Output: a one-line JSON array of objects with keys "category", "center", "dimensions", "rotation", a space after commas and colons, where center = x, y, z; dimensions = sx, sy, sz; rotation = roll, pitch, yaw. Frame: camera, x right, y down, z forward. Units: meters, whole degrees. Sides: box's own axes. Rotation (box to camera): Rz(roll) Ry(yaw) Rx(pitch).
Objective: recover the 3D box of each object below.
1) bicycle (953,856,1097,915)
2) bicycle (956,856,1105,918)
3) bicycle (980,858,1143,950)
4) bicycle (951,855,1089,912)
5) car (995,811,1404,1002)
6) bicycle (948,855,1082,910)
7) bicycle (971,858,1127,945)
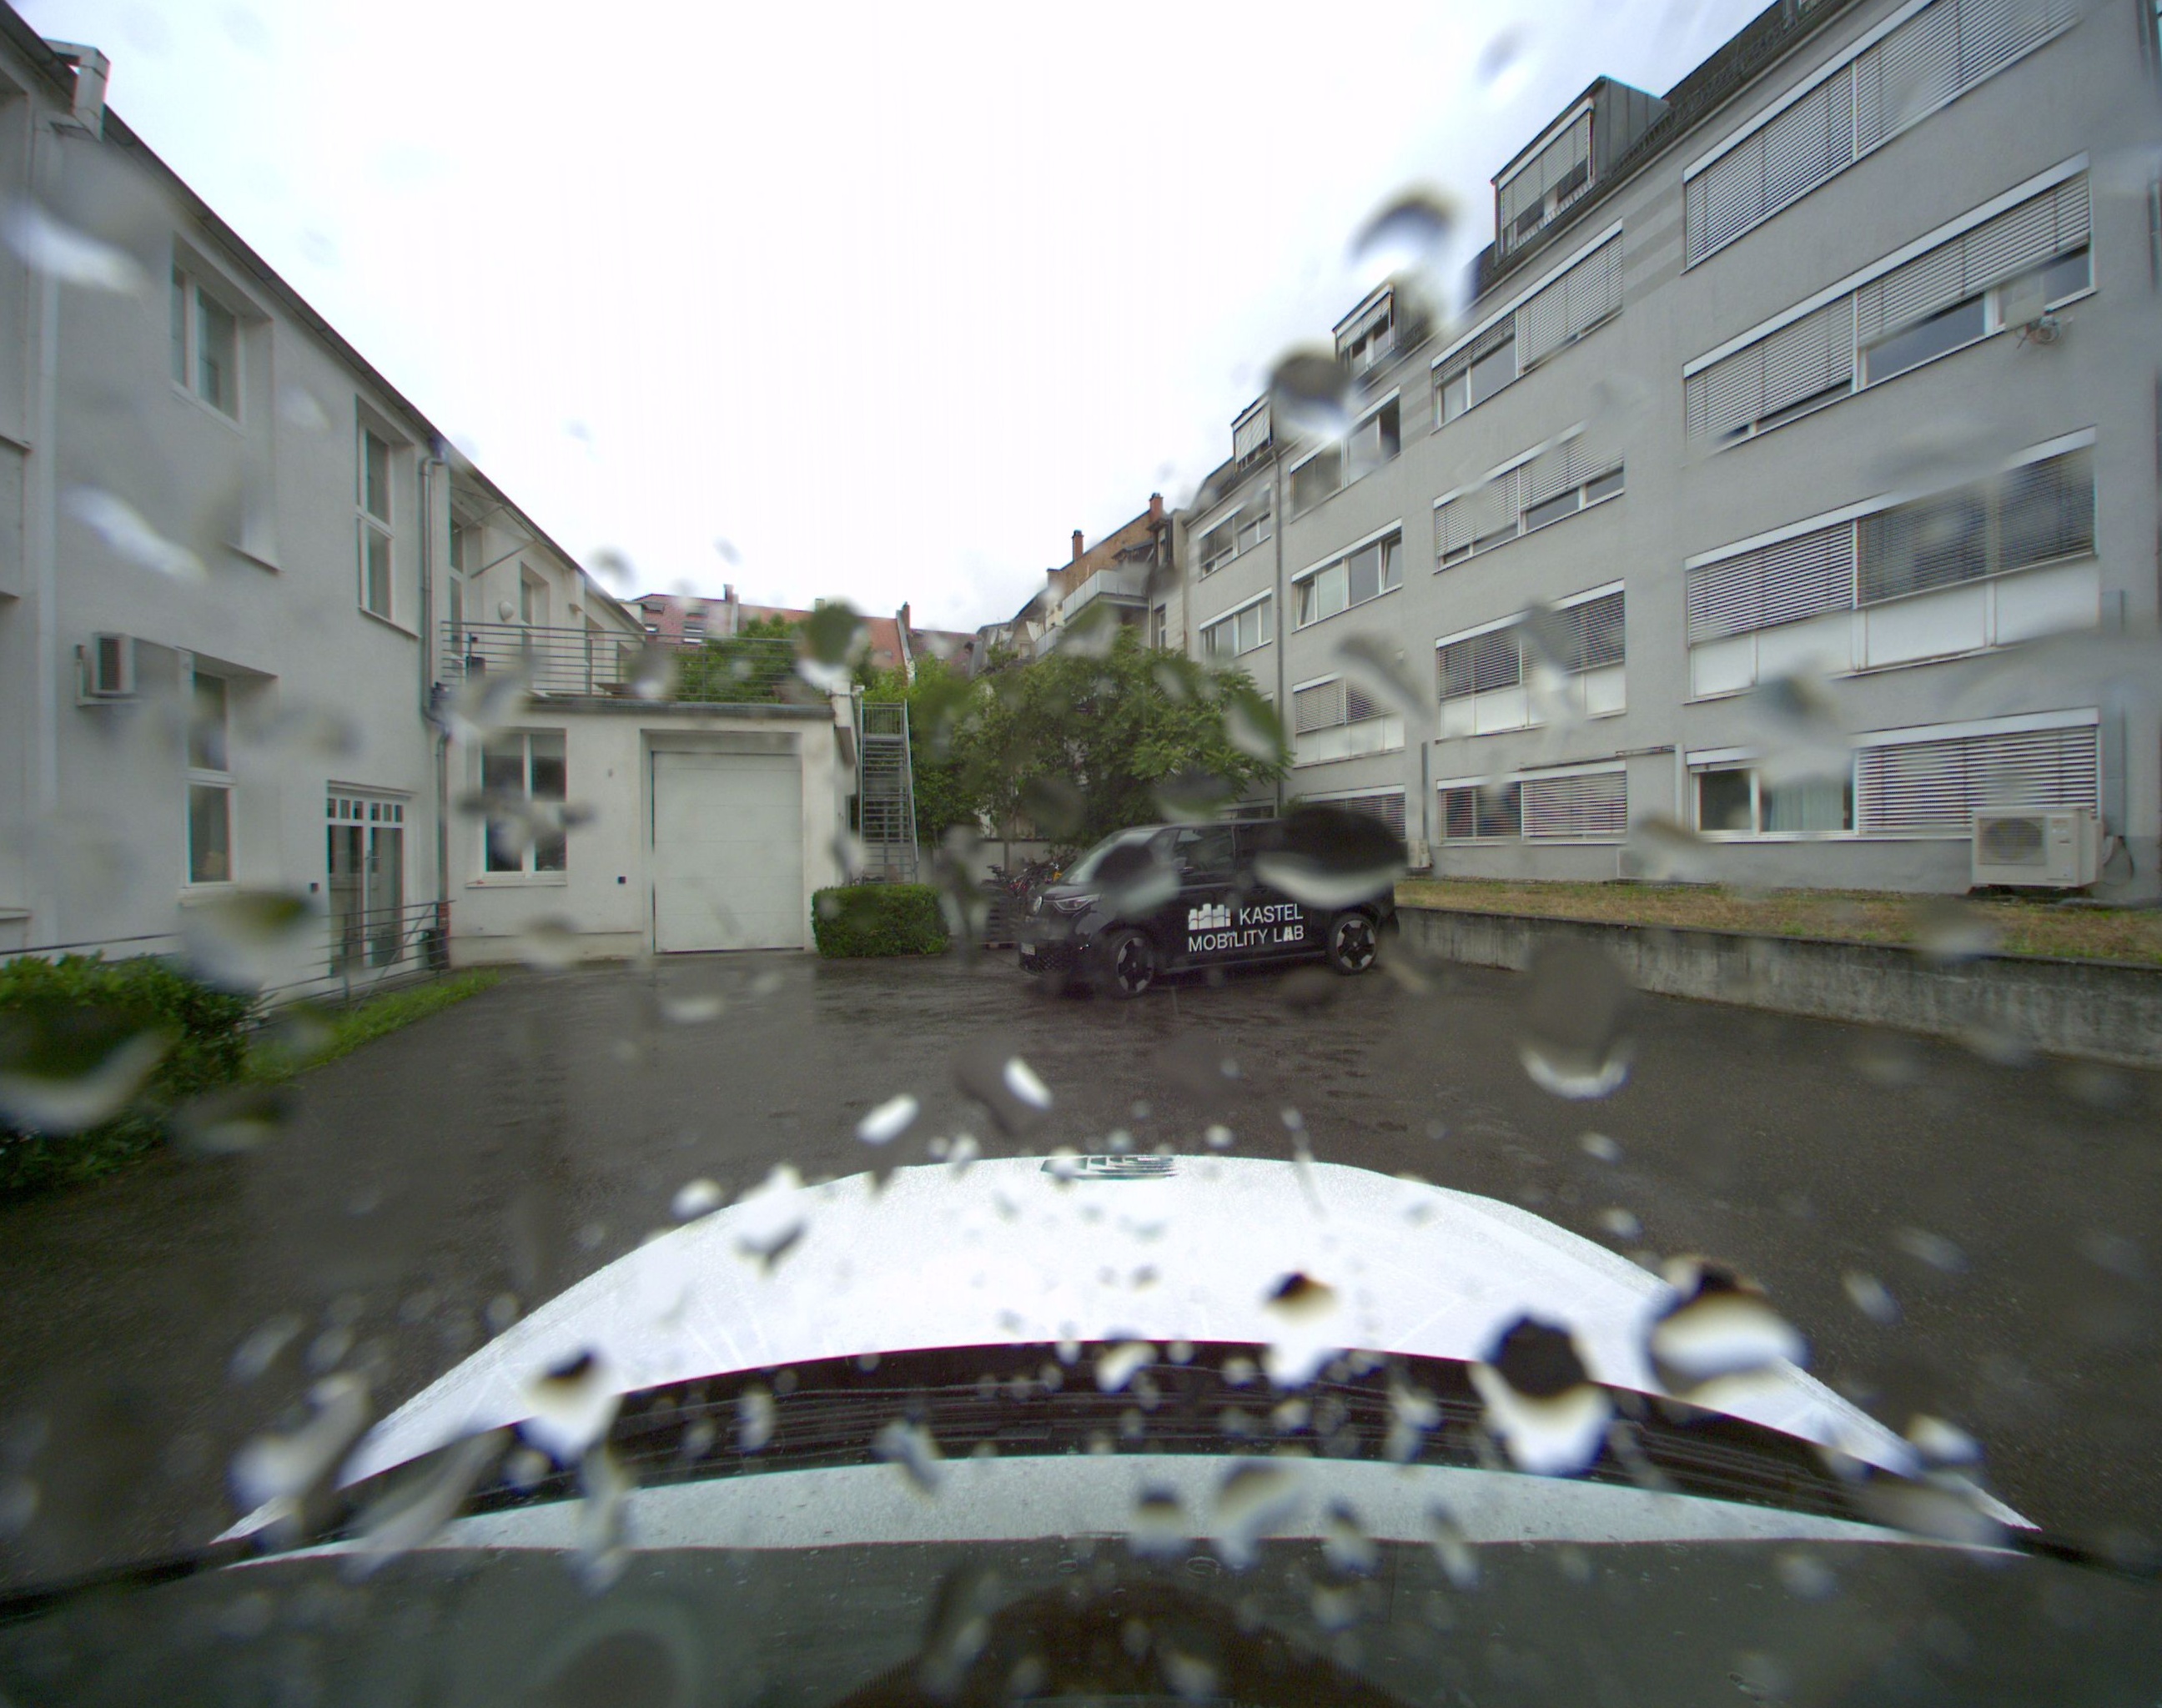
[{"category": "bicycle", "center": [-1.269, 0.692, 18.720], "dimensions": [3.223, 1.242, 0.627], "rotation": [-1, -1, -18]}, {"category": "bicycle", "center": [-1.103, 0.701, 18.043], "dimensions": [3.223, 1.242, 0.627], "rotation": [-1, -1, -18]}, {"category": "bicycle", "center": [-0.367, 0.973, 16.445], "dimensions": [3.223, 1.703, 0.627], "rotation": [-1, -1, -18]}, {"category": "bicycle", "center": [-1.436, 0.684, 19.368], "dimensions": [3.223, 1.242, 0.627], "rotation": [-1, -1, -18]}, {"category": "car", "center": [1.430, 0.492, 9.904], "dimensions": [4.527, 1.897, 2.031], "rotation": [-1, -1, -23]}, {"category": "bicycle", "center": [-1.603, 0.675, 19.996], "dimensions": [3.223, 1.242, 0.627], "rotation": [-1, -1, -18]}, {"category": "bicycle", "center": [-0.656, 0.962, 17.239], "dimensions": [3.223, 1.703, 0.627], "rotation": [-1, -1, -18]}]
